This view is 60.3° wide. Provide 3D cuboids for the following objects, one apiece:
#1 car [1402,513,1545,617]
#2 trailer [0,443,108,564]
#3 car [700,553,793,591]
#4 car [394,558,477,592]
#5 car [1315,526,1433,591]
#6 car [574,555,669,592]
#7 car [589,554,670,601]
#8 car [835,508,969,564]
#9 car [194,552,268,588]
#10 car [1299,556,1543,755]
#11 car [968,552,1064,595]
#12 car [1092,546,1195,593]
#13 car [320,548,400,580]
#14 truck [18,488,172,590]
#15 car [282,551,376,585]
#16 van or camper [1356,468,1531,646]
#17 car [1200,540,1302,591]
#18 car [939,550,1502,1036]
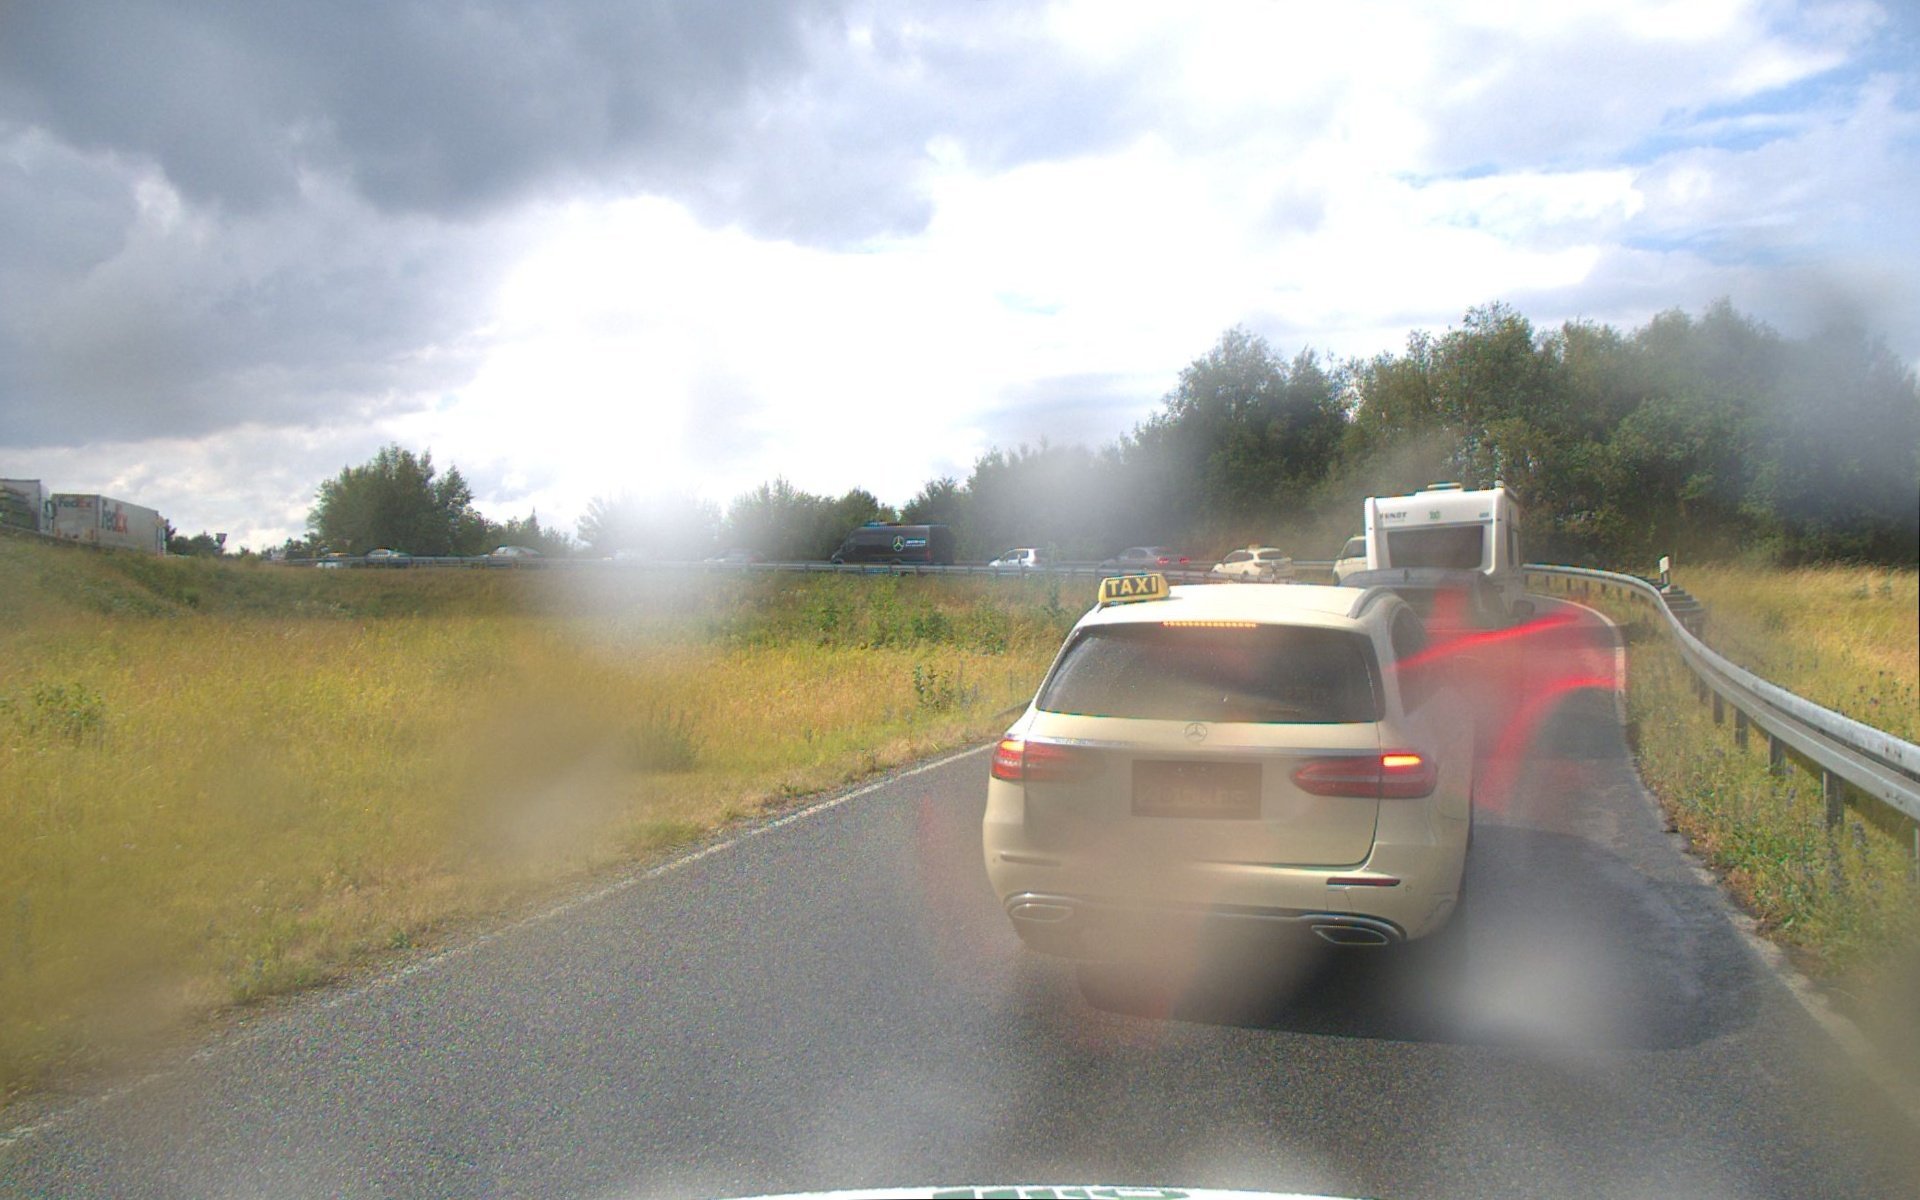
[{"bbox_3d":[10.797,-0.800,34.456,2.378,1.958,5.761,0,3,22],"label":"car"},{"bbox_3d":[-46.715,-4.457,81.600,4.341,4.025,20.126,0,-2,-16],"label":"trailer"},{"bbox_3d":[-11.860,-1.549,91.794,4.947,1.894,1.996,-2,-1,31],"label":"car"},{"bbox_3d":[-32.376,-1.510,102.073,4.400,1.894,2.002,-2,-1,9],"label":"car"},{"bbox_3d":[13.424,-1.303,53.941,1.956,1.894,5.048,-2,0,-8],"label":"car"},{"bbox_3d":[-19.415,-1.483,94.877,4.934,1.894,2.001,-2,-1,17],"label":"car"},{"bbox_3d":[-18.949,-1.283,94.783,3.910,2.046,2.000,-7,3,27],"label":"car"},{"bbox_3d":[-3.075,-3.318,86.797,6.851,2.640,2.862,-1,1,39],"label":"car"},{"bbox_3d":[-43.434,-1.769,98.653,3.931,2.049,1.814,0,-3,-22],"label":"car"},{"bbox_3d":[4.357,0.405,15.216,1.683,1.551,4.000,-1,1,22],"label":"car"},{"bbox_3d":[2.697,-1.266,80.944,1.978,1.894,4.991,-1,-1,-36],"label":"car"},{"bbox_3d":[8.028,-1.322,73.012,1.972,1.894,5.008,-1,-1,-29],"label":"car"},{"bbox_3d":[-39.123,-2.313,107.809,4.941,1.894,1.998,-2,-1,26],"label":"car"},{"bbox_3d":[-51.983,-3.400,100.292,4.388,4.582,19.287,0,-2,-16],"label":"truck"},{"bbox_3d":[-38.386,-1.934,100.648,4.934,1.894,2.001,-2,-1,5],"label":"car"},{"bbox_3d":[8.600,-0.818,28.986,2.381,2.776,6.003,0,3,22],"label":"van or camper"},{"bbox_3d":[11.064,-1.305,63.276,1.960,1.894,5.039,0,1,-14],"label":"car"},{"bbox_3d":[1.515,0.609,7.706,1.876,1.534,4.598,0,0,18],"label":"car"}]
